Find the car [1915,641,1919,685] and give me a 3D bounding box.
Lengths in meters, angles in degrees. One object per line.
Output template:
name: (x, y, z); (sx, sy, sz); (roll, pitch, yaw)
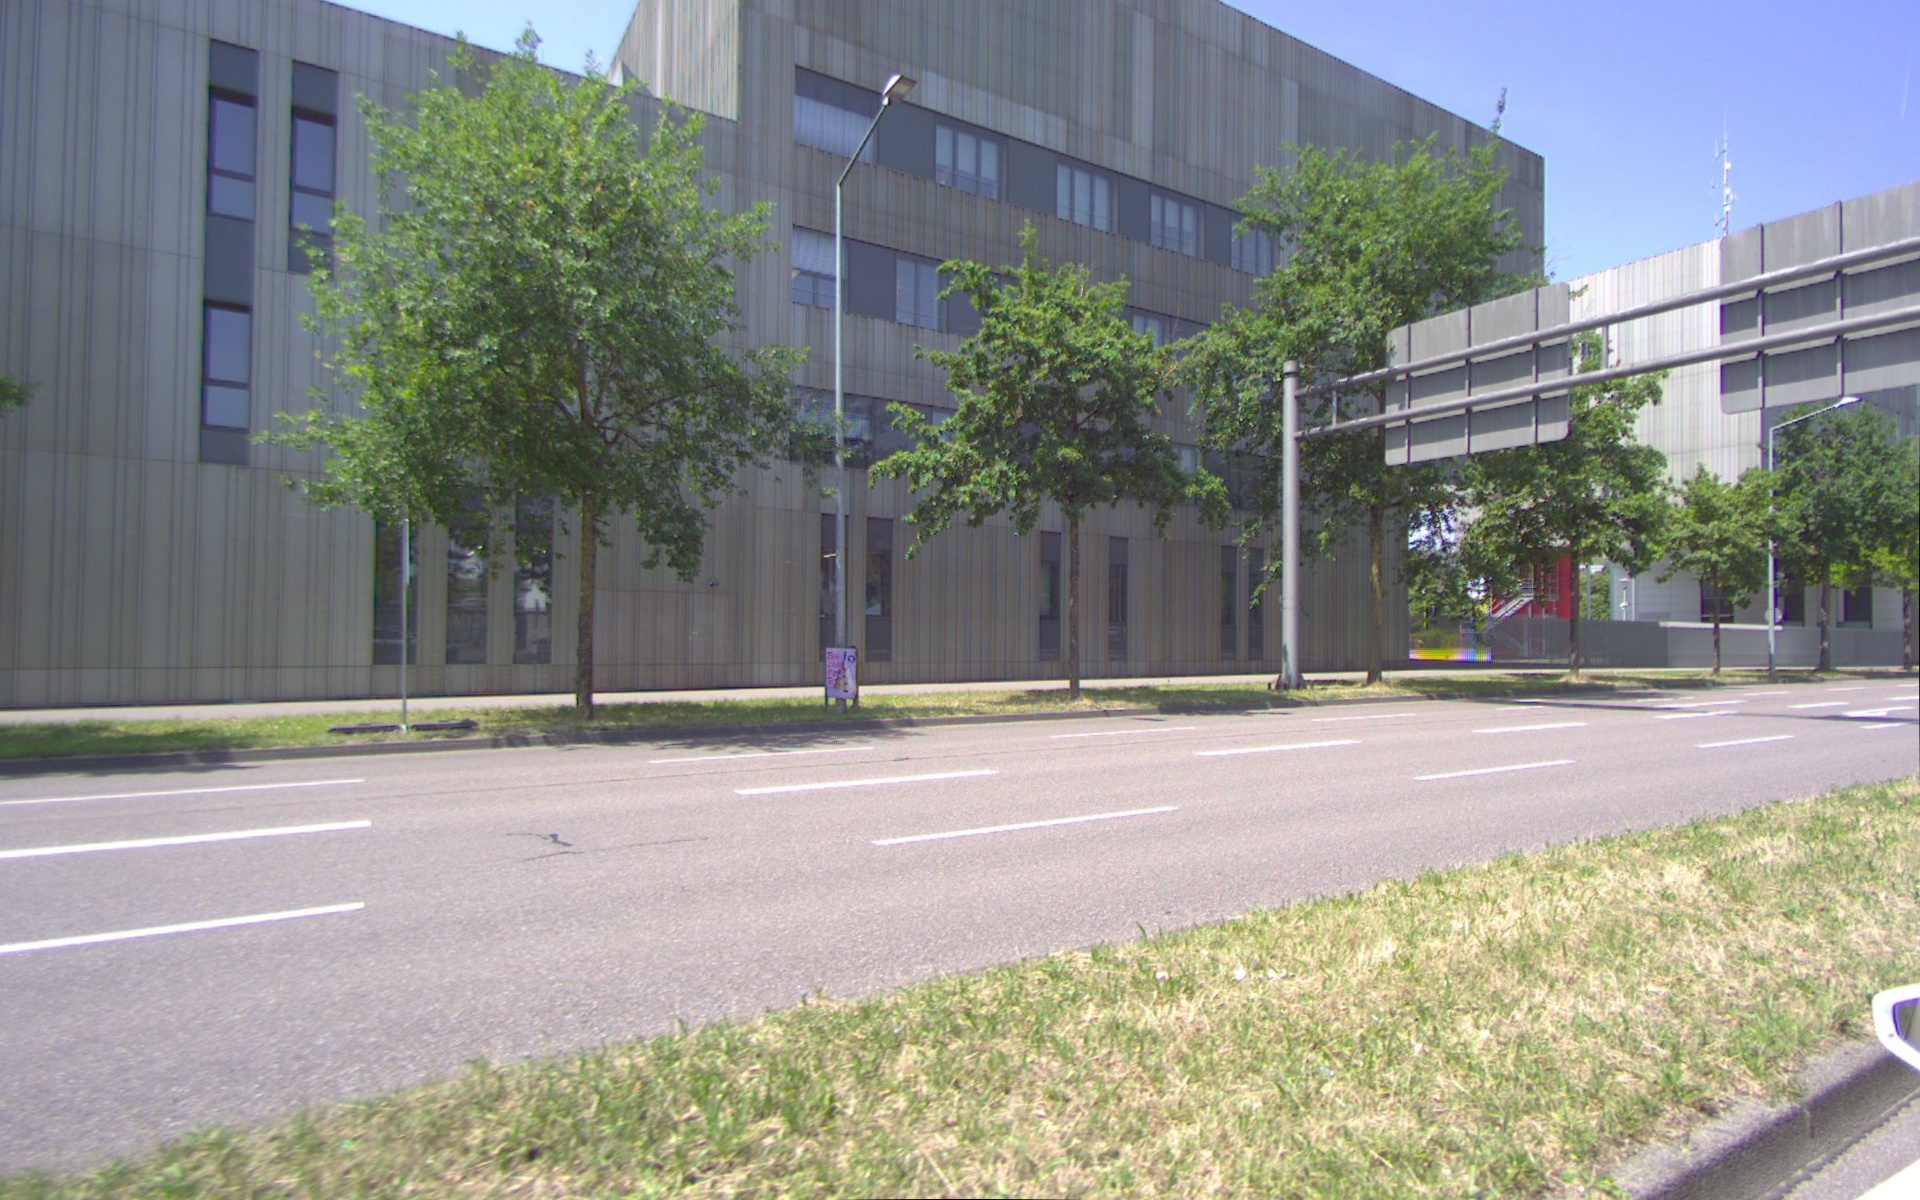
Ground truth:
car: (33.961, 2.100, 33.722); (4.313, 1.446, 1.800); (2, -3, -34)
